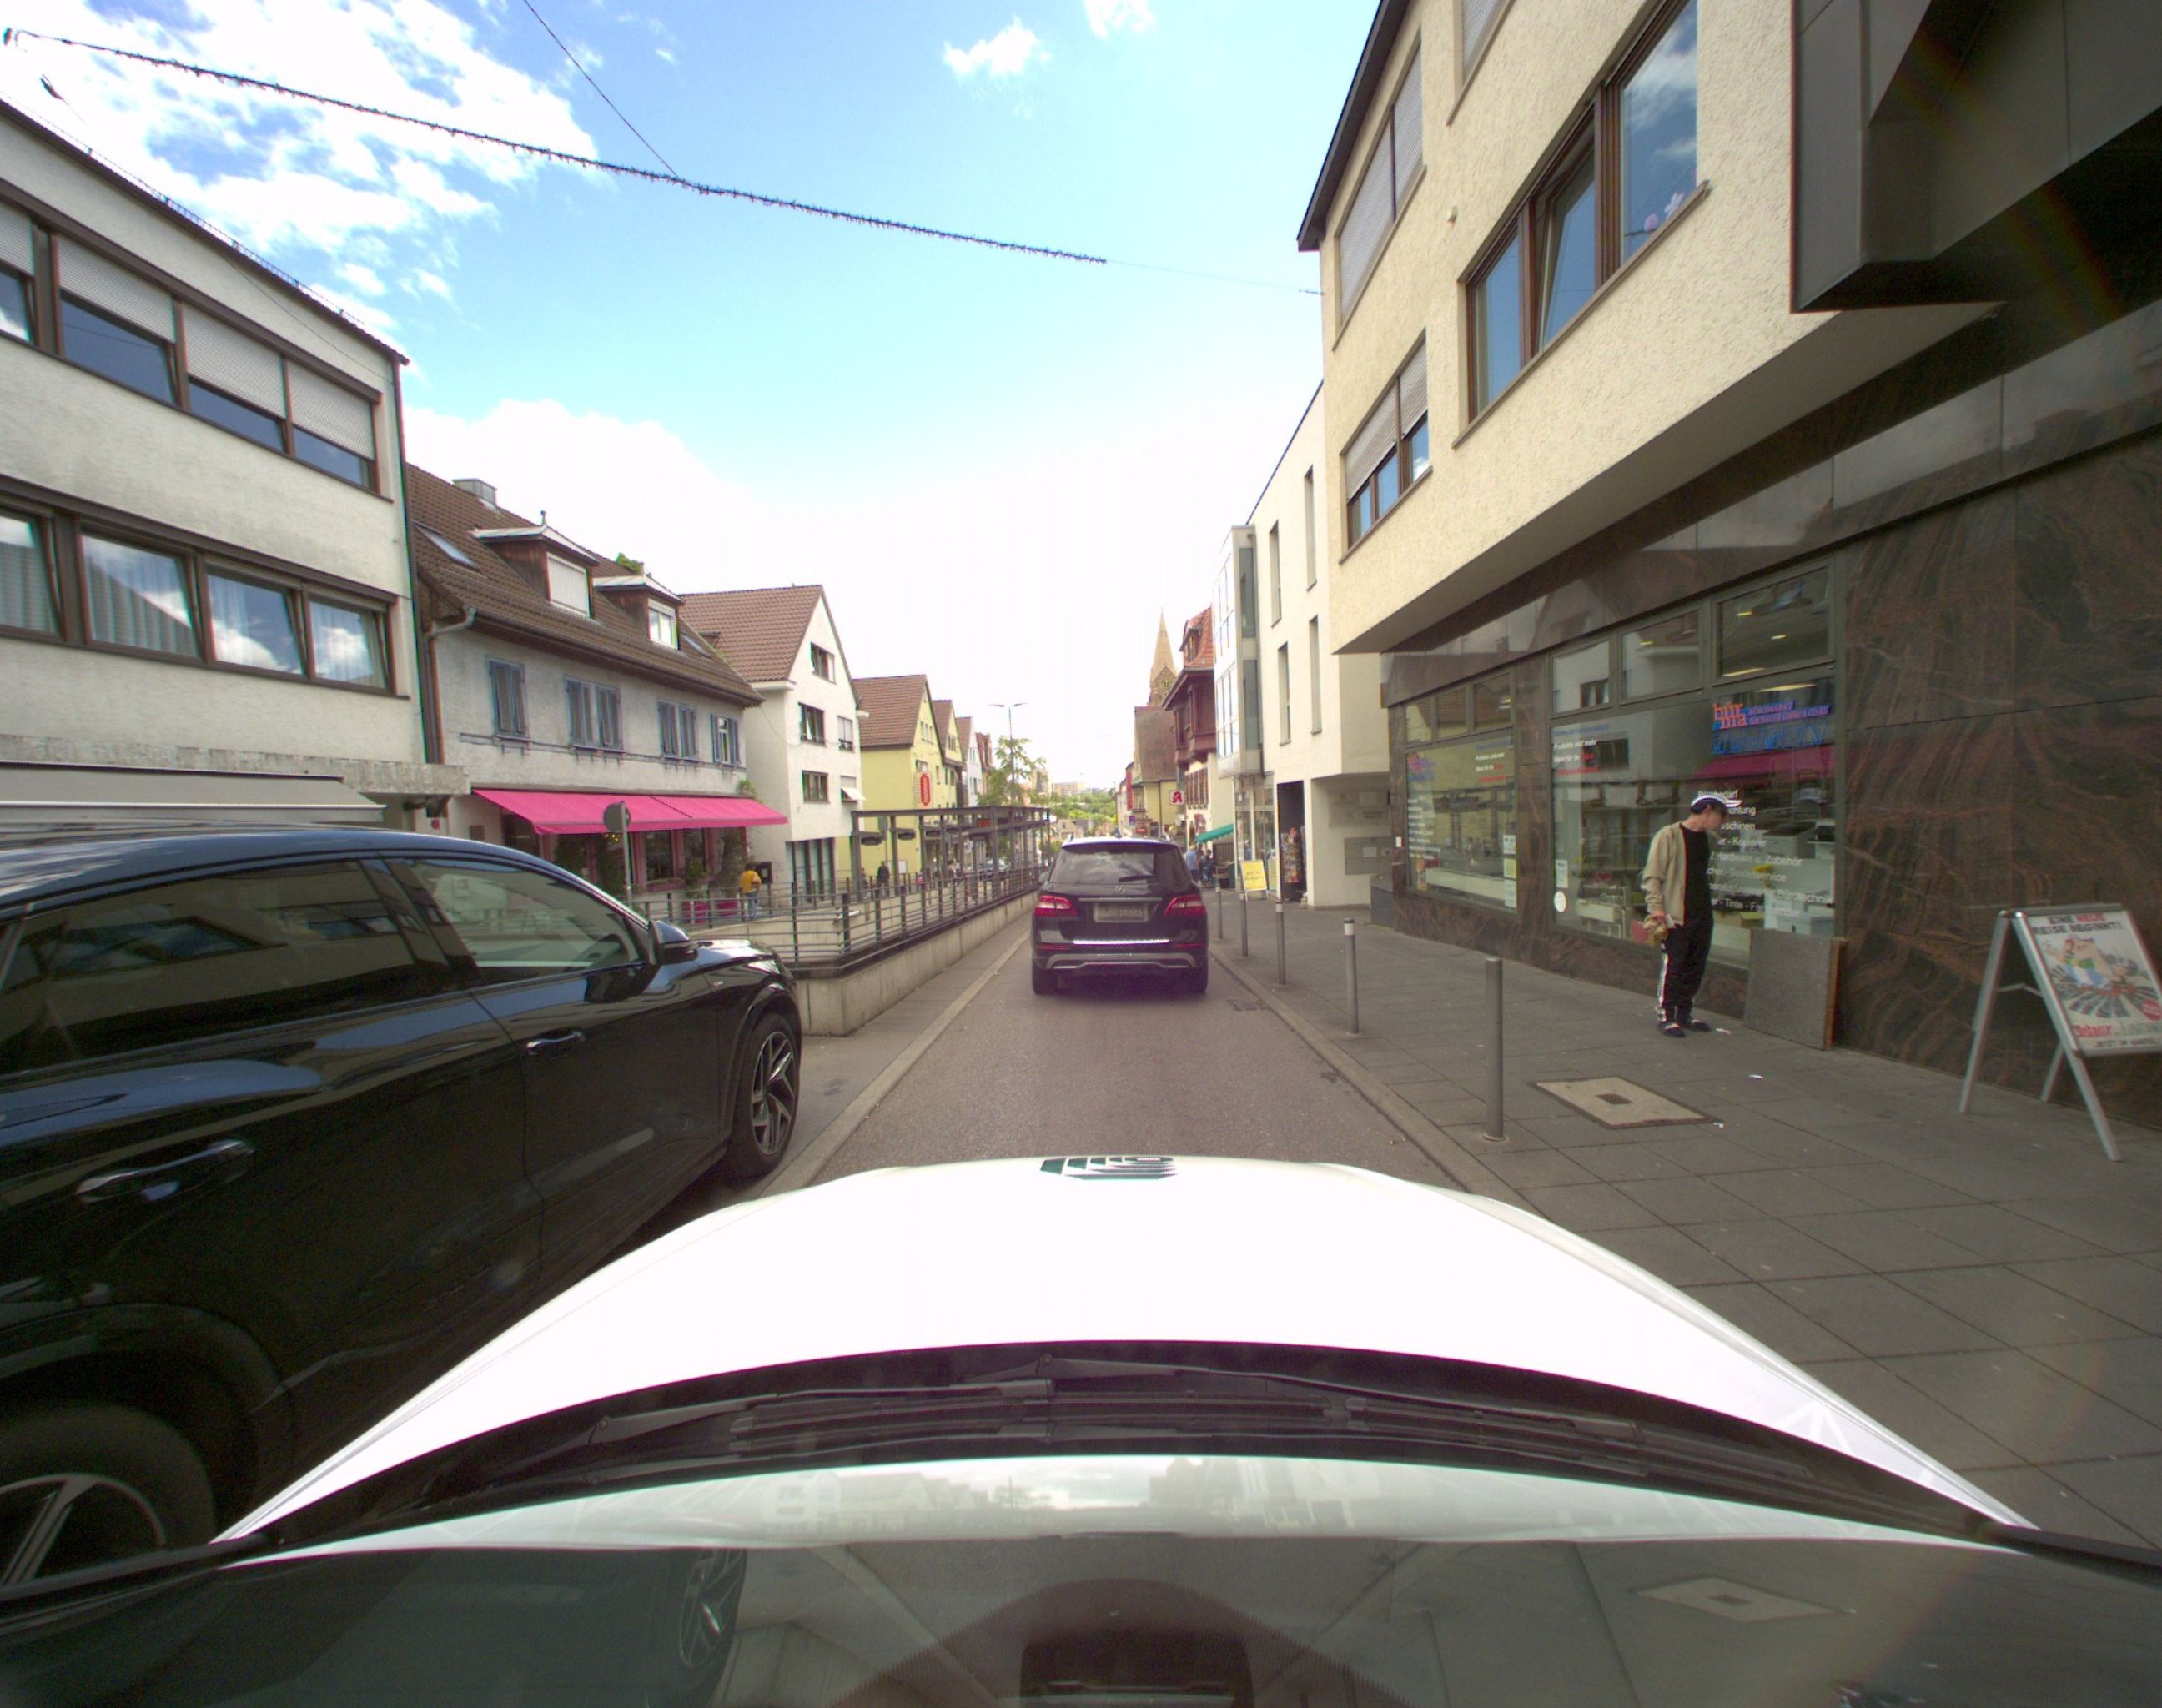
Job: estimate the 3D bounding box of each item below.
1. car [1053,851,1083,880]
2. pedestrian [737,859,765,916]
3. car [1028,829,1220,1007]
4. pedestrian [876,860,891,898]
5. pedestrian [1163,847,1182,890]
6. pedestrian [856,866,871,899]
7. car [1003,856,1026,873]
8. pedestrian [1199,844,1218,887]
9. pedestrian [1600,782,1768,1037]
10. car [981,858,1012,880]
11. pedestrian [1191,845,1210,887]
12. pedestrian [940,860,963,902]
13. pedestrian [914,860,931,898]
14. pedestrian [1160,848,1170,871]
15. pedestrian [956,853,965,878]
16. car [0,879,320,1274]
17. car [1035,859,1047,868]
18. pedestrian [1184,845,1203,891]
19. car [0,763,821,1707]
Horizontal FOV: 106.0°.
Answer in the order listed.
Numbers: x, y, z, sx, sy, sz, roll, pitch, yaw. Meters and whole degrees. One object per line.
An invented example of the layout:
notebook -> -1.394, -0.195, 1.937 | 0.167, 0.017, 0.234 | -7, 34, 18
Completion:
car -> -0.768, 0.658, 50.408 | 1.764, 1.713, 4.001 | 0, 0, 1
pedestrian -> -9.822, 0.987, 24.231 | 0.576, 1.689, 0.577 | 0, 0, 0
car -> 0.417, 0.631, 10.073 | 1.895, 1.747, 3.999 | 0, 0, 0
pedestrian -> -8.920, 1.133, 36.850 | 0.612, 1.689, 0.561 | 0, 0, -10
pedestrian -> 3.586, 0.574, 32.008 | 0.620, 1.689, 0.565 | 0, 0, -5
pedestrian -> -9.614, 1.264, 35.992 | 0.454, 1.421, 0.534 | 0, 0, 4
car -> -6.157, 0.980, 75.513 | 1.654, 1.490, 3.749 | 0, 0, 2
pedestrian -> 5.133, 0.451, 32.799 | 0.572, 1.689, 0.565 | -3, 0, -5
pedestrian -> 4.311, 0.377, 5.854 | 0.662, 1.689, 0.542 | -6, 0, -5
car -> -6.012, 1.033, 58.348 | 1.683, 1.490, 3.980 | 0, 0, 2
pedestrian -> 4.958, 0.484, 33.727 | 0.572, 1.689, 0.565 | -3, 0, -5
pedestrian -> -5.384, 1.109, 33.842 | 0.770, 1.689, 0.721 | 0, 0, -28
pedestrian -> -7.217, 1.127, 37.103 | 0.623, 1.689, 0.679 | 0, 0, 1
pedestrian -> 6.309, 0.432, 60.952 | 0.604, 1.688, 0.724 | -3, 0, 1
pedestrian -> -8.180, 0.763, 55.187 | 0.511, 1.689, 0.541 | 0, 0, 1
car -> -5.039, 0.914, 2.474 | 1.733, 1.475, 3.883 | -3, 0, 0
car -> -5.679, 1.319, 115.364 | 1.383, 1.070, 3.114 | -3, 0, 2
pedestrian -> 4.339, 0.538, 31.471 | 0.541, 1.726, 0.527 | -3, 0, -5
car -> -2.424, 0.708, 2.313 | 1.950, 1.639, 4.314 | -1, 0, 0
